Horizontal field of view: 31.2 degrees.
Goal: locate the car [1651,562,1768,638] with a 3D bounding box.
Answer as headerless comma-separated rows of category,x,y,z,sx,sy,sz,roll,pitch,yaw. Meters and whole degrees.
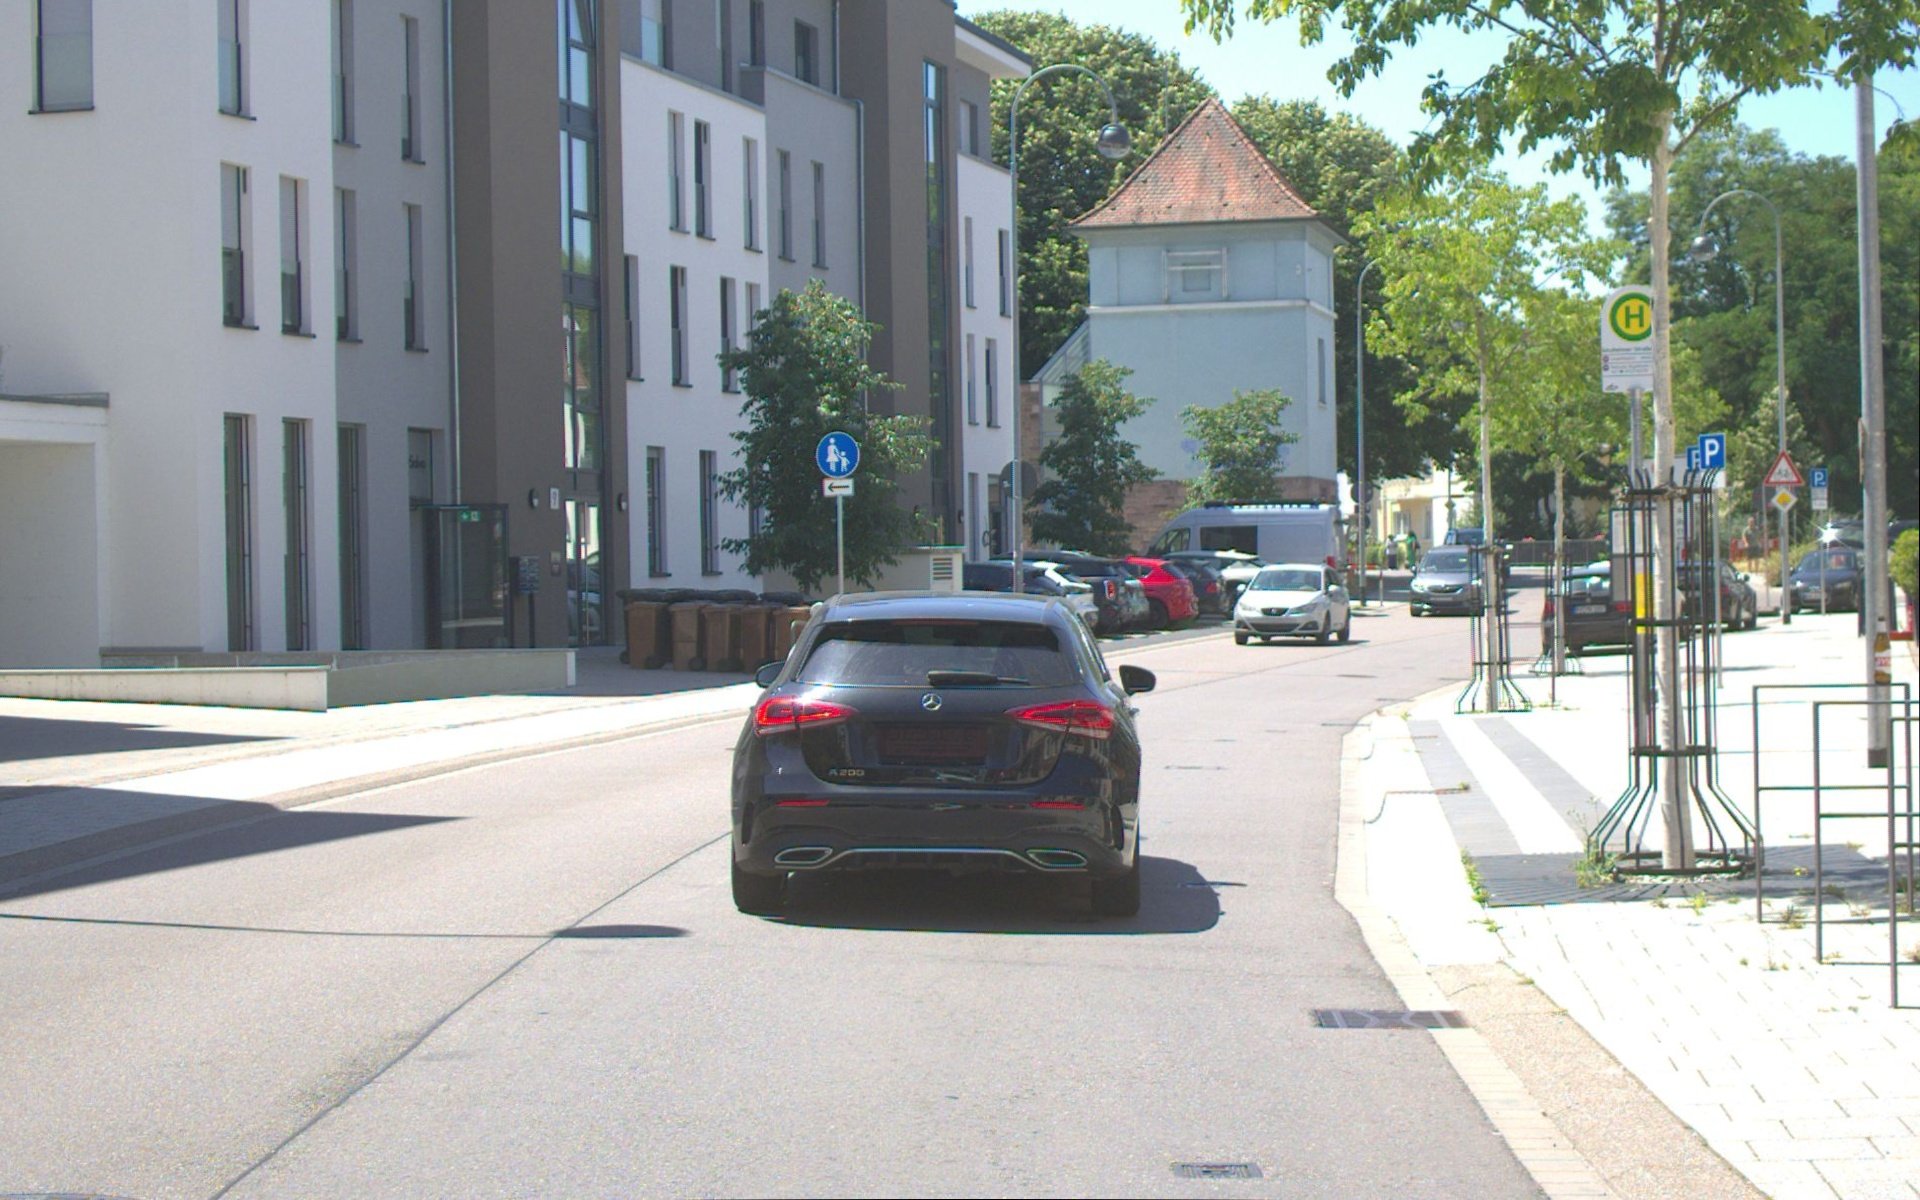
car,15.008,-0.028,68.702,1.726,1.400,4.605,-2,0,19

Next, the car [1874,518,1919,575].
car,30.145,-1.625,105.283,4.077,1.710,1.855,1,1,14

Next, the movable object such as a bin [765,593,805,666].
movable object such as a bin,-2.429,0.407,47.717,0.403,0.994,0.555,0,1,14

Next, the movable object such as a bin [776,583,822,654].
movable object such as a bin,-2.337,0.265,50.004,0.554,1.016,0.560,0,1,11

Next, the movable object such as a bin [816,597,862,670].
movable object such as a bin,-1.671,0.454,47.567,0.483,0.994,0.587,0,1,14

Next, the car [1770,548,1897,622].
car,20.058,-0.357,78.834,1.875,1.486,3.856,-2,2,29

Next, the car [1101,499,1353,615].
car,6.534,-1.062,84.033,5.772,2.723,2.290,1,1,16

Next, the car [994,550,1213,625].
car,2.922,-0.267,69.820,4.036,1.425,1.998,1,1,18

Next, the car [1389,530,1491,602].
car,11.516,-0.817,82.276,1.943,1.653,4.233,1,1,15

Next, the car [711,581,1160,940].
car,-0.094,0.653,16.261,1.828,1.437,4.000,1,0,0

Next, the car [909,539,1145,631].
car,1.269,-0.301,64.746,4.036,1.645,1.998,1,1,18

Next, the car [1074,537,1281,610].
car,5.042,-0.630,79.457,4.457,1.586,1.999,1,1,15

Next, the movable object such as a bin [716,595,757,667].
movable object such as a bin,-3.102,0.427,47.743,0.403,0.994,0.555,0,1,14

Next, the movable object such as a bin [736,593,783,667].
movable object such as a bin,-2.753,0.411,47.223,0.483,0.994,0.587,0,1,14

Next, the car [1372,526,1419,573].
car,19.343,-2.221,152.670,1.994,2.007,3.999,1,0,7

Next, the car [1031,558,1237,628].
car,3.771,-0.163,74.171,4.202,1.432,1.885,1,1,11

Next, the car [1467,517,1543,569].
car,17.989,-1.862,113.394,1.812,1.695,4.072,0,1,19

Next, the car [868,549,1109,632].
car,0.523,-0.186,62.341,3.990,1.416,1.908,1,1,16

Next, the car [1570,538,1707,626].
car,12.405,-0.341,62.716,1.739,1.481,4.050,-3,0,21

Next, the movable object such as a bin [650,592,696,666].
movable object such as a bin,-3.931,0.394,47.079,0.483,0.994,0.526,0,1,13

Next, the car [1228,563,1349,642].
car,6.017,0.028,62.630,1.668,1.391,3.845,0,1,14

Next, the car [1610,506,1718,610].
car,19.340,-1.176,94.242,2.129,2.620,5.273,-2,1,19

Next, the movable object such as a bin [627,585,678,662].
movable object such as a bin,-4.413,0.330,49.431,0.692,1.092,0.648,0,1,-2

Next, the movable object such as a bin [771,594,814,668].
movable object such as a bin,-2.280,0.423,46.921,0.483,0.994,0.588,0,1,8

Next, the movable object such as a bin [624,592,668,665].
movable object such as a bin,-4.368,0.393,47.819,0.483,0.994,0.588,0,1,8

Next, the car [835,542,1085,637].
car,0.018,-0.203,60.235,3.990,1.510,1.999,1,3,16

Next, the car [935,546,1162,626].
car,1.748,-0.297,67.531,4.036,1.491,1.998,1,1,18

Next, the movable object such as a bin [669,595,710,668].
movable object such as a bin,-3.748,0.436,47.671,0.403,0.994,0.555,0,1,14

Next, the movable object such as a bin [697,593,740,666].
movable object such as a bin,-3.315,0.402,47.221,0.425,0.994,0.523,0,1,15

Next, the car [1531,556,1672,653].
car,10.604,0.066,56.634,1.834,1.477,4.092,-3,0,16
